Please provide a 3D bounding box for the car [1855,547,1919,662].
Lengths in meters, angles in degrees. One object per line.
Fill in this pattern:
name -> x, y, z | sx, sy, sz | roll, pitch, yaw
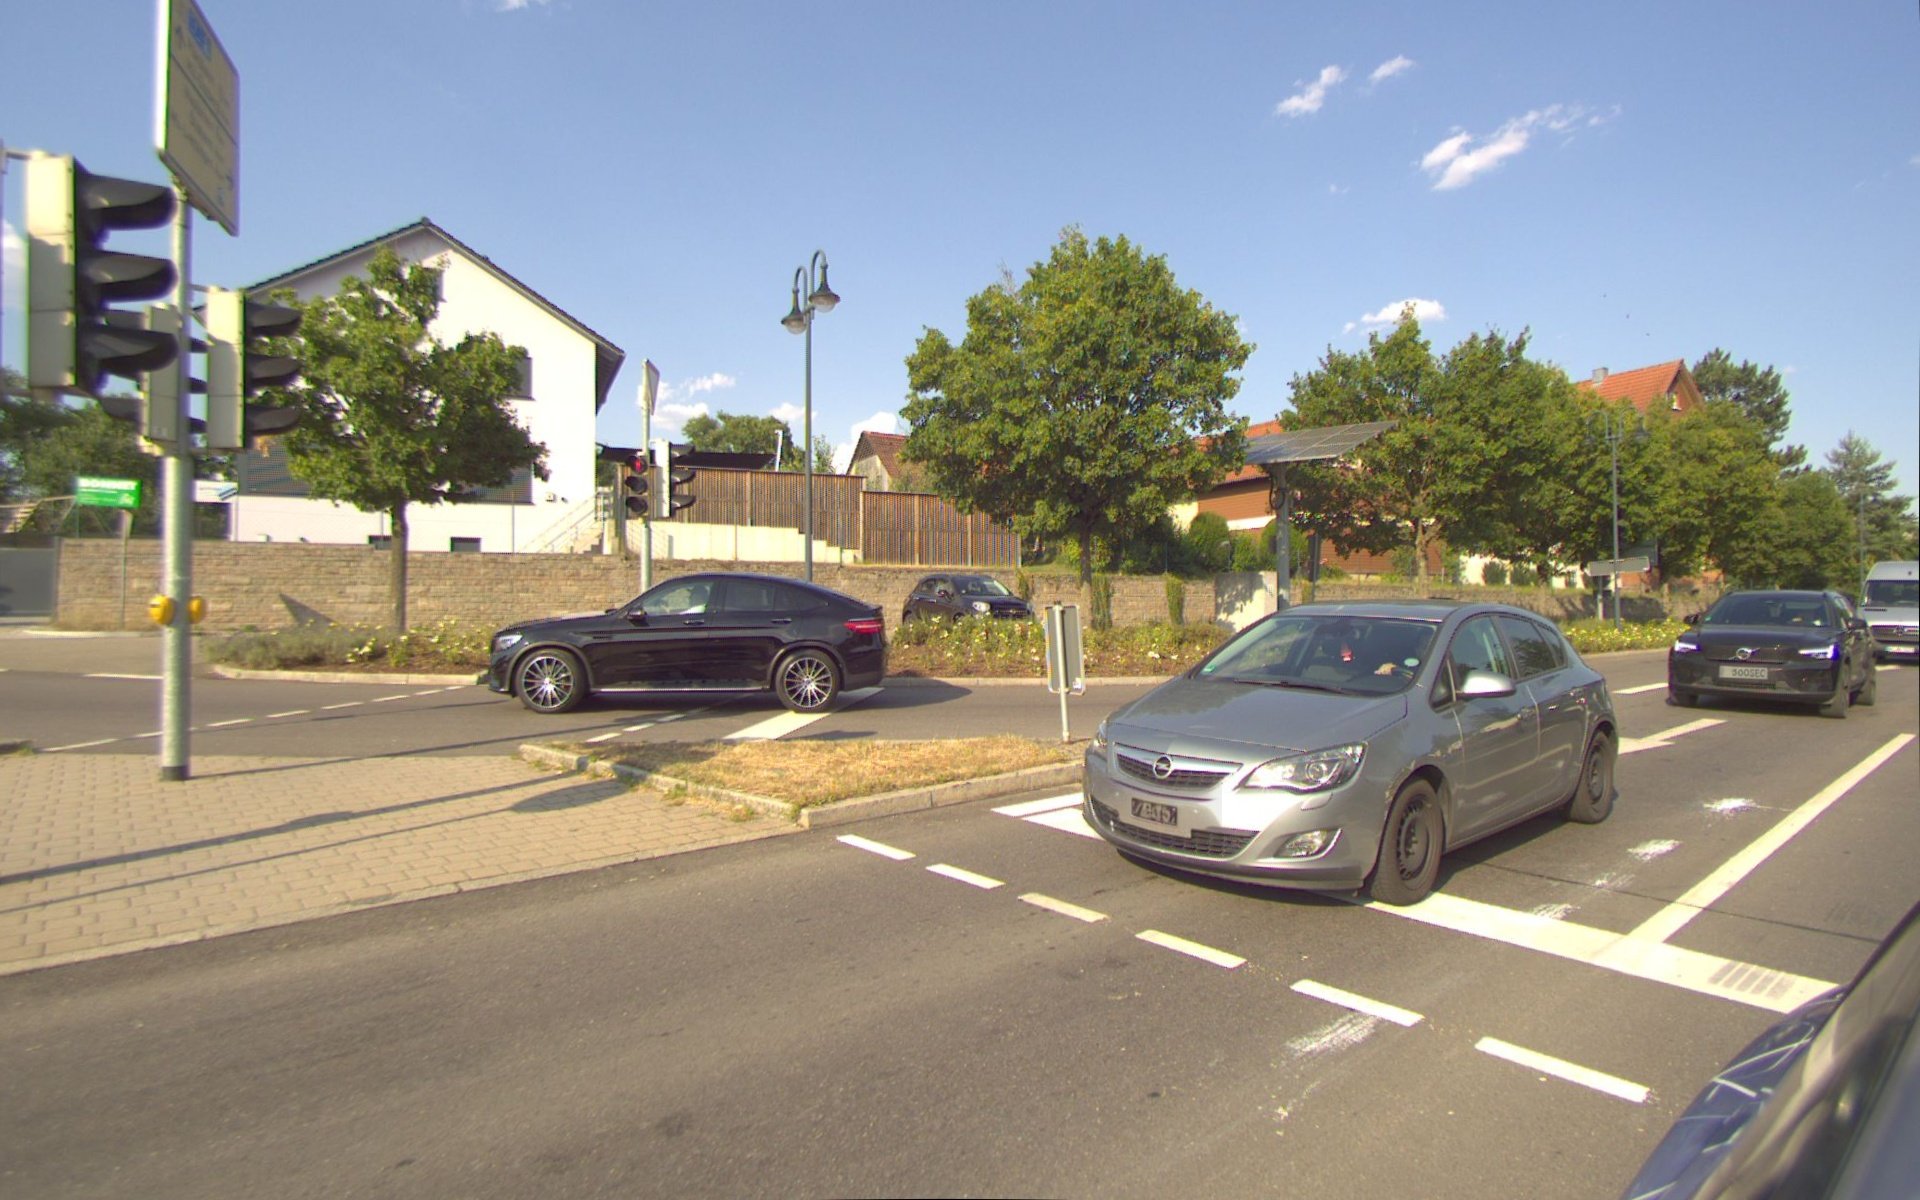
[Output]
car -> 24.834, 0.101, 26.033 | 6.536, 2.691, 2.038 | 0, 1, -43

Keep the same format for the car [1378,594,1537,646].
car -> 14.913, 0.550, 30.504 | 1.714, 1.449, 4.001 | 0, 0, -33

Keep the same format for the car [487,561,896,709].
car -> -3.062, 0.377, 12.138 | 4.402, 1.586, 1.848 | 0, -1, -9

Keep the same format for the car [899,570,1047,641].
car -> 0.195, 0.115, 23.228 | 1.645, 1.475, 4.084 | 0, 0, -28

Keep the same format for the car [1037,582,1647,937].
car -> 2.507, 0.652, 6.115 | 4.069, 1.440, 1.651 | 0, 1, -40

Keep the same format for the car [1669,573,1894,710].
car -> 11.465, 0.492, 14.041 | 3.986, 1.626, 1.790 | 0, 0, -41
